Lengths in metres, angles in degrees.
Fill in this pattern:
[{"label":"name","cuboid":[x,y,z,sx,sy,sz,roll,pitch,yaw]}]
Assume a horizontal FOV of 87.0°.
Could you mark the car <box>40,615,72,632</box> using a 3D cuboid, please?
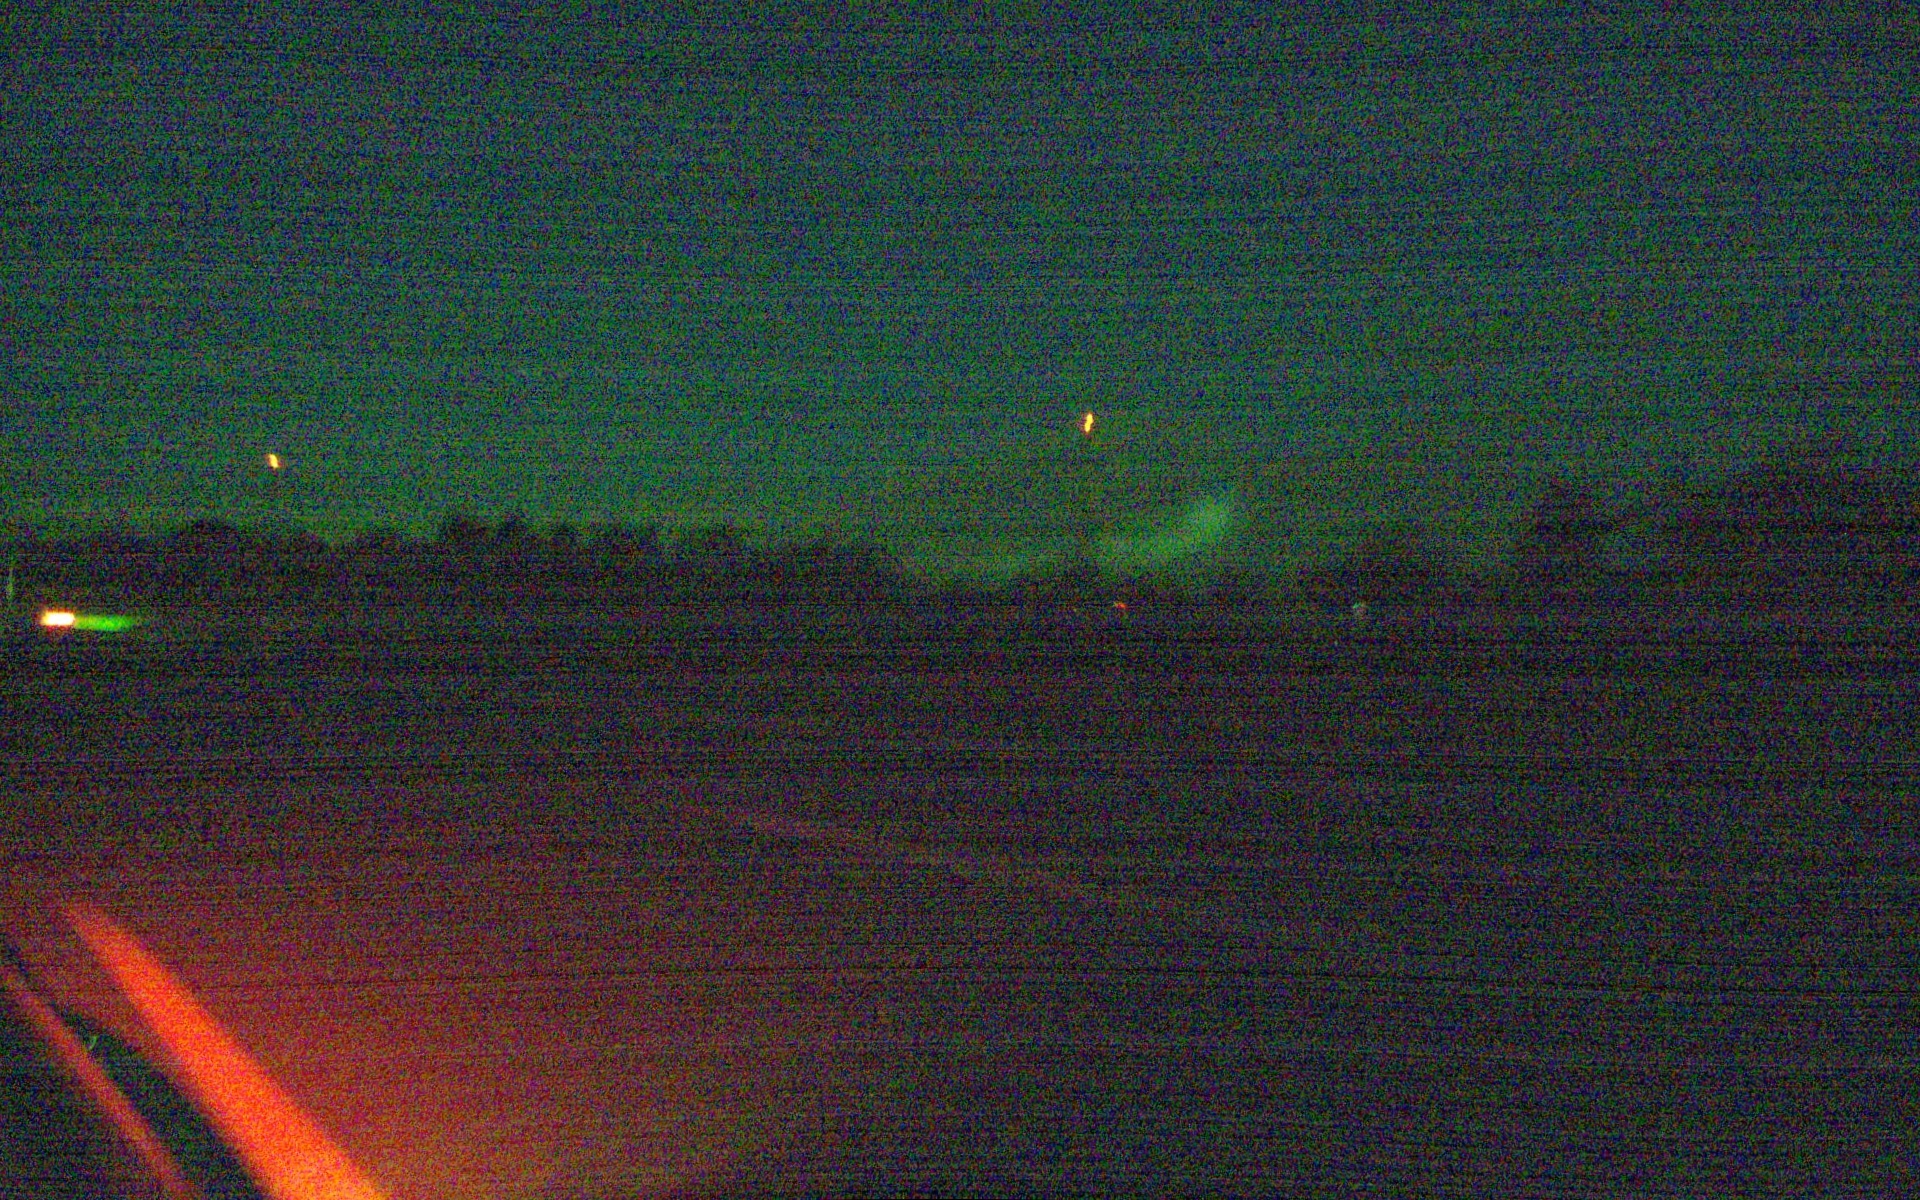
[{"label":"car","cuboid":[-98.984,2.601,110.786,5.068,1.758,1.973,0,0,40]}]
